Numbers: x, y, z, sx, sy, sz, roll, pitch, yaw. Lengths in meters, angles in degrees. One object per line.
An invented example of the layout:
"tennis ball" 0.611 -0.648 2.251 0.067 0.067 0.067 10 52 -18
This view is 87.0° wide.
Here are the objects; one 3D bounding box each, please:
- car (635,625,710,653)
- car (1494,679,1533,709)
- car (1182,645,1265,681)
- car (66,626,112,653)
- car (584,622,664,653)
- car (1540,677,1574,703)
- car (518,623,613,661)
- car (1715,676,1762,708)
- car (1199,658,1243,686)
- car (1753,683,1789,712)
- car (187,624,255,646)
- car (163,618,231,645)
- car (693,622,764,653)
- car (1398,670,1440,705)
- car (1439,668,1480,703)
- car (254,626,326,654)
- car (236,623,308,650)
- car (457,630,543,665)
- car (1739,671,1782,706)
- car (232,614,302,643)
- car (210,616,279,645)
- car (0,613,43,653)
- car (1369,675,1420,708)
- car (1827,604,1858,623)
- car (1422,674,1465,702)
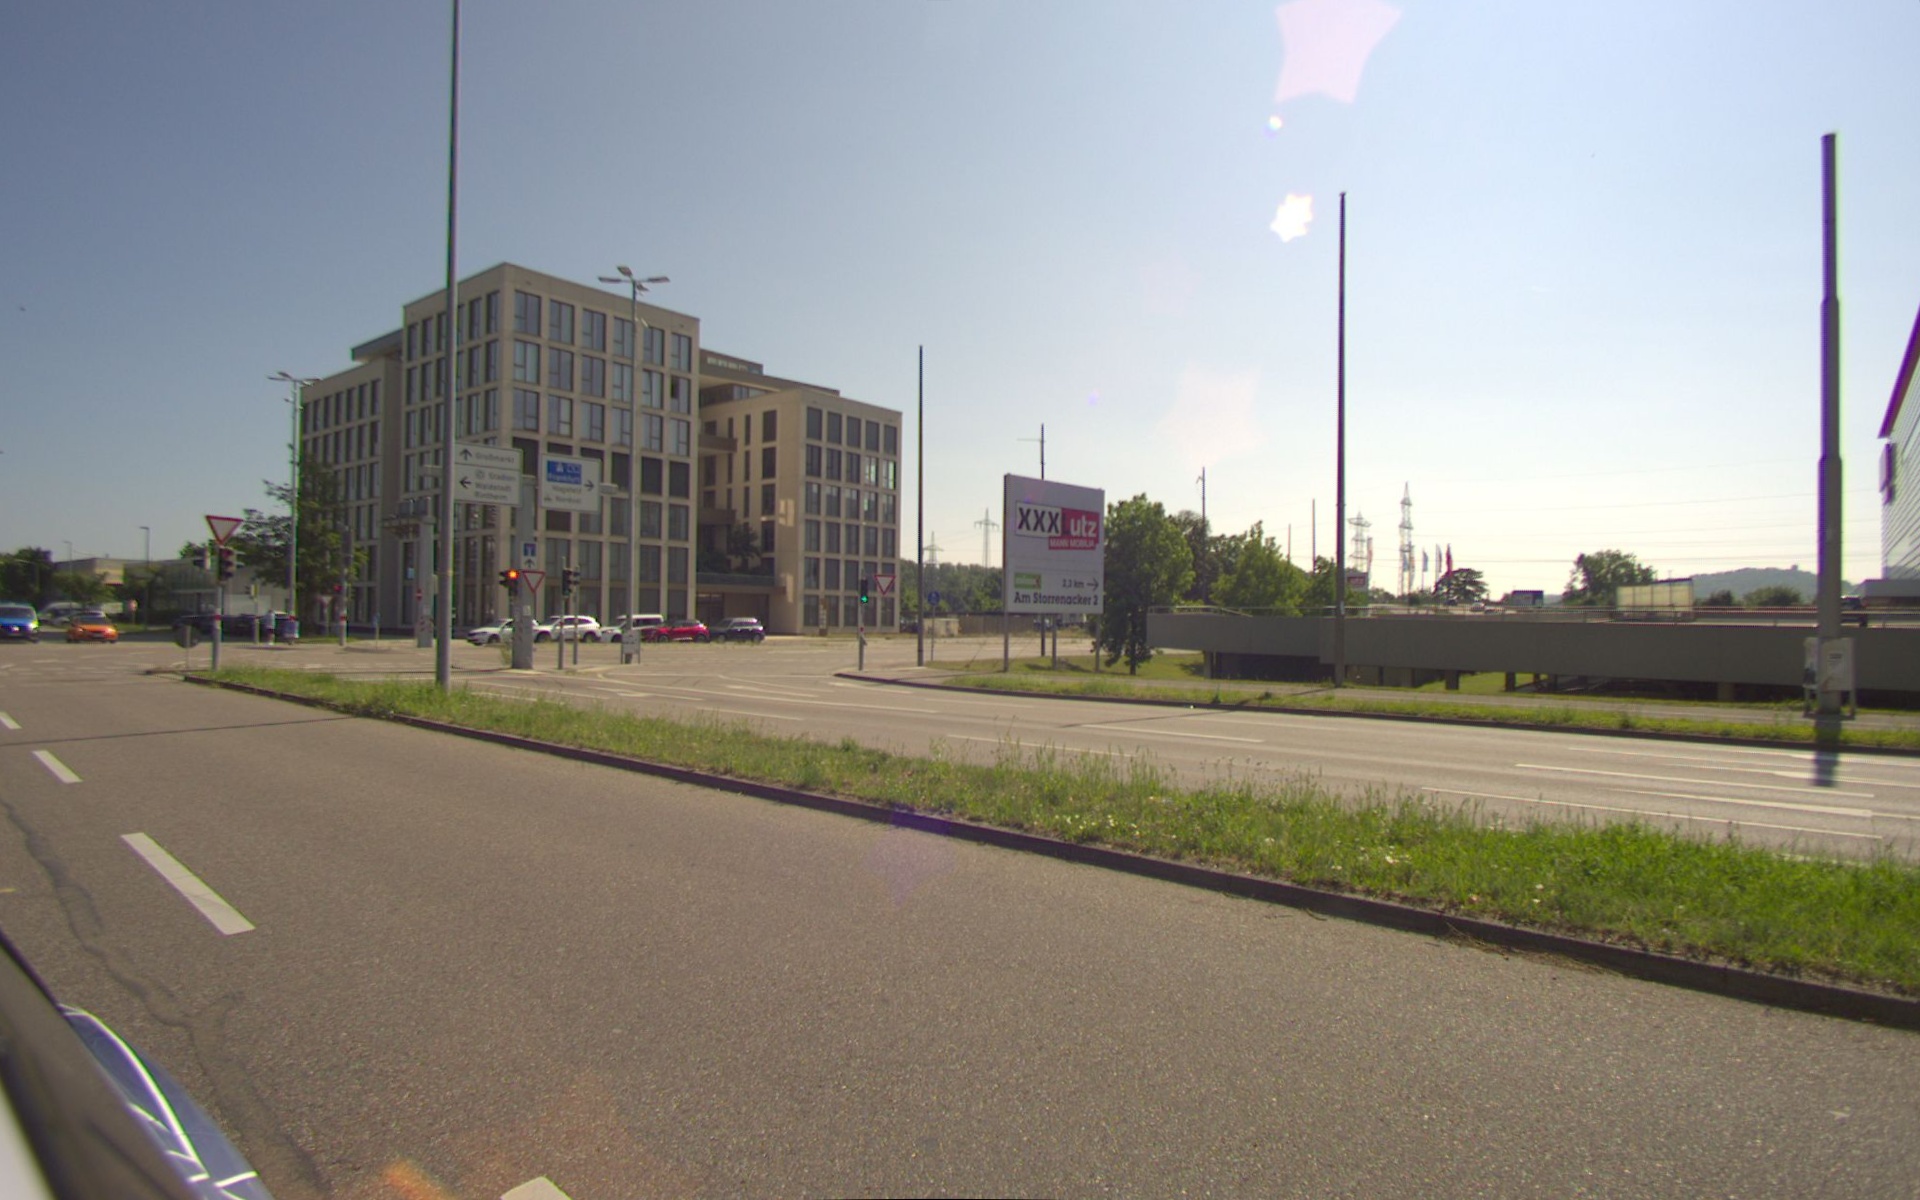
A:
"car" -16.596 2.251 58.494 1.529 1.539 4.067 -1 -2 38
"car" 20.250 3.424 36.991 0.887 0.983 1.917 -1 -2 40
"car" 14.475 3.409 55.692 3.999 1.747 1.972 0 -1 42
"car" -44.954 2.015 52.252 1.713 1.374 3.871 2 -2 -41
"car" -19.810 2.214 59.828 1.902 1.724 4.177 -1 -2 38
"car" 26.197 3.926 44.385 1.070 1.047 1.918 -1 -3 38
"car" -20.857 2.187 53.672 2.023 1.852 4.259 1 -1 36
"car" 18.431 2.170 23.961 0.857 0.625 1.544 0 -1 38
"car" 9.807 2.678 37.968 0.888 0.983 1.918 -3 -3 37
"car" 31.726 3.799 39.614 1.070 0.983 1.918 0 -1 38
"car" -56.277 2.659 77.142 3.931 1.627 2.006 2 -2 -29
"car" -58.988 2.456 78.335 3.931 2.029 2.006 2 -2 -29
"car" -14.866 2.366 65.077 1.834 1.903 4.186 0 -1 41
"car" 13.040 2.477 28.739 0.791 0.889 1.487 0 -1 38
"car" 16.063 2.739 32.529 0.865 0.983 1.825 0 -1 38
"car" -45.252 2.728 68.345 3.934 1.751 2.005 3 -2 -35
"car" -47.746 2.535 70.358 3.931 1.841 2.006 2 -2 -29
"car" -24.506 2.513 54.009 1.830 1.725 3.722 0 -1 35
"car" 26.542 2.915 33.584 1.070 0.983 1.918 0 -1 38
"car" -50.077 2.095 73.194 3.931 2.029 2.006 2 -2 -29
"car" -52.798 2.268 74.755 3.931 2.029 2.006 2 -2 -28
"car" -47.040 1.630 50.212 2.153 1.923 4.737 2 -2 -41
"car" 14.585 3.058 33.964 1.070 1.016 1.917 -2 -3 40
"car" 46.065 0.722 52.837 1.070 0.983 1.918 0 -1 38
"car" 18.531 3.350 38.768 1.070 0.983 1.918 -1 -3 39
